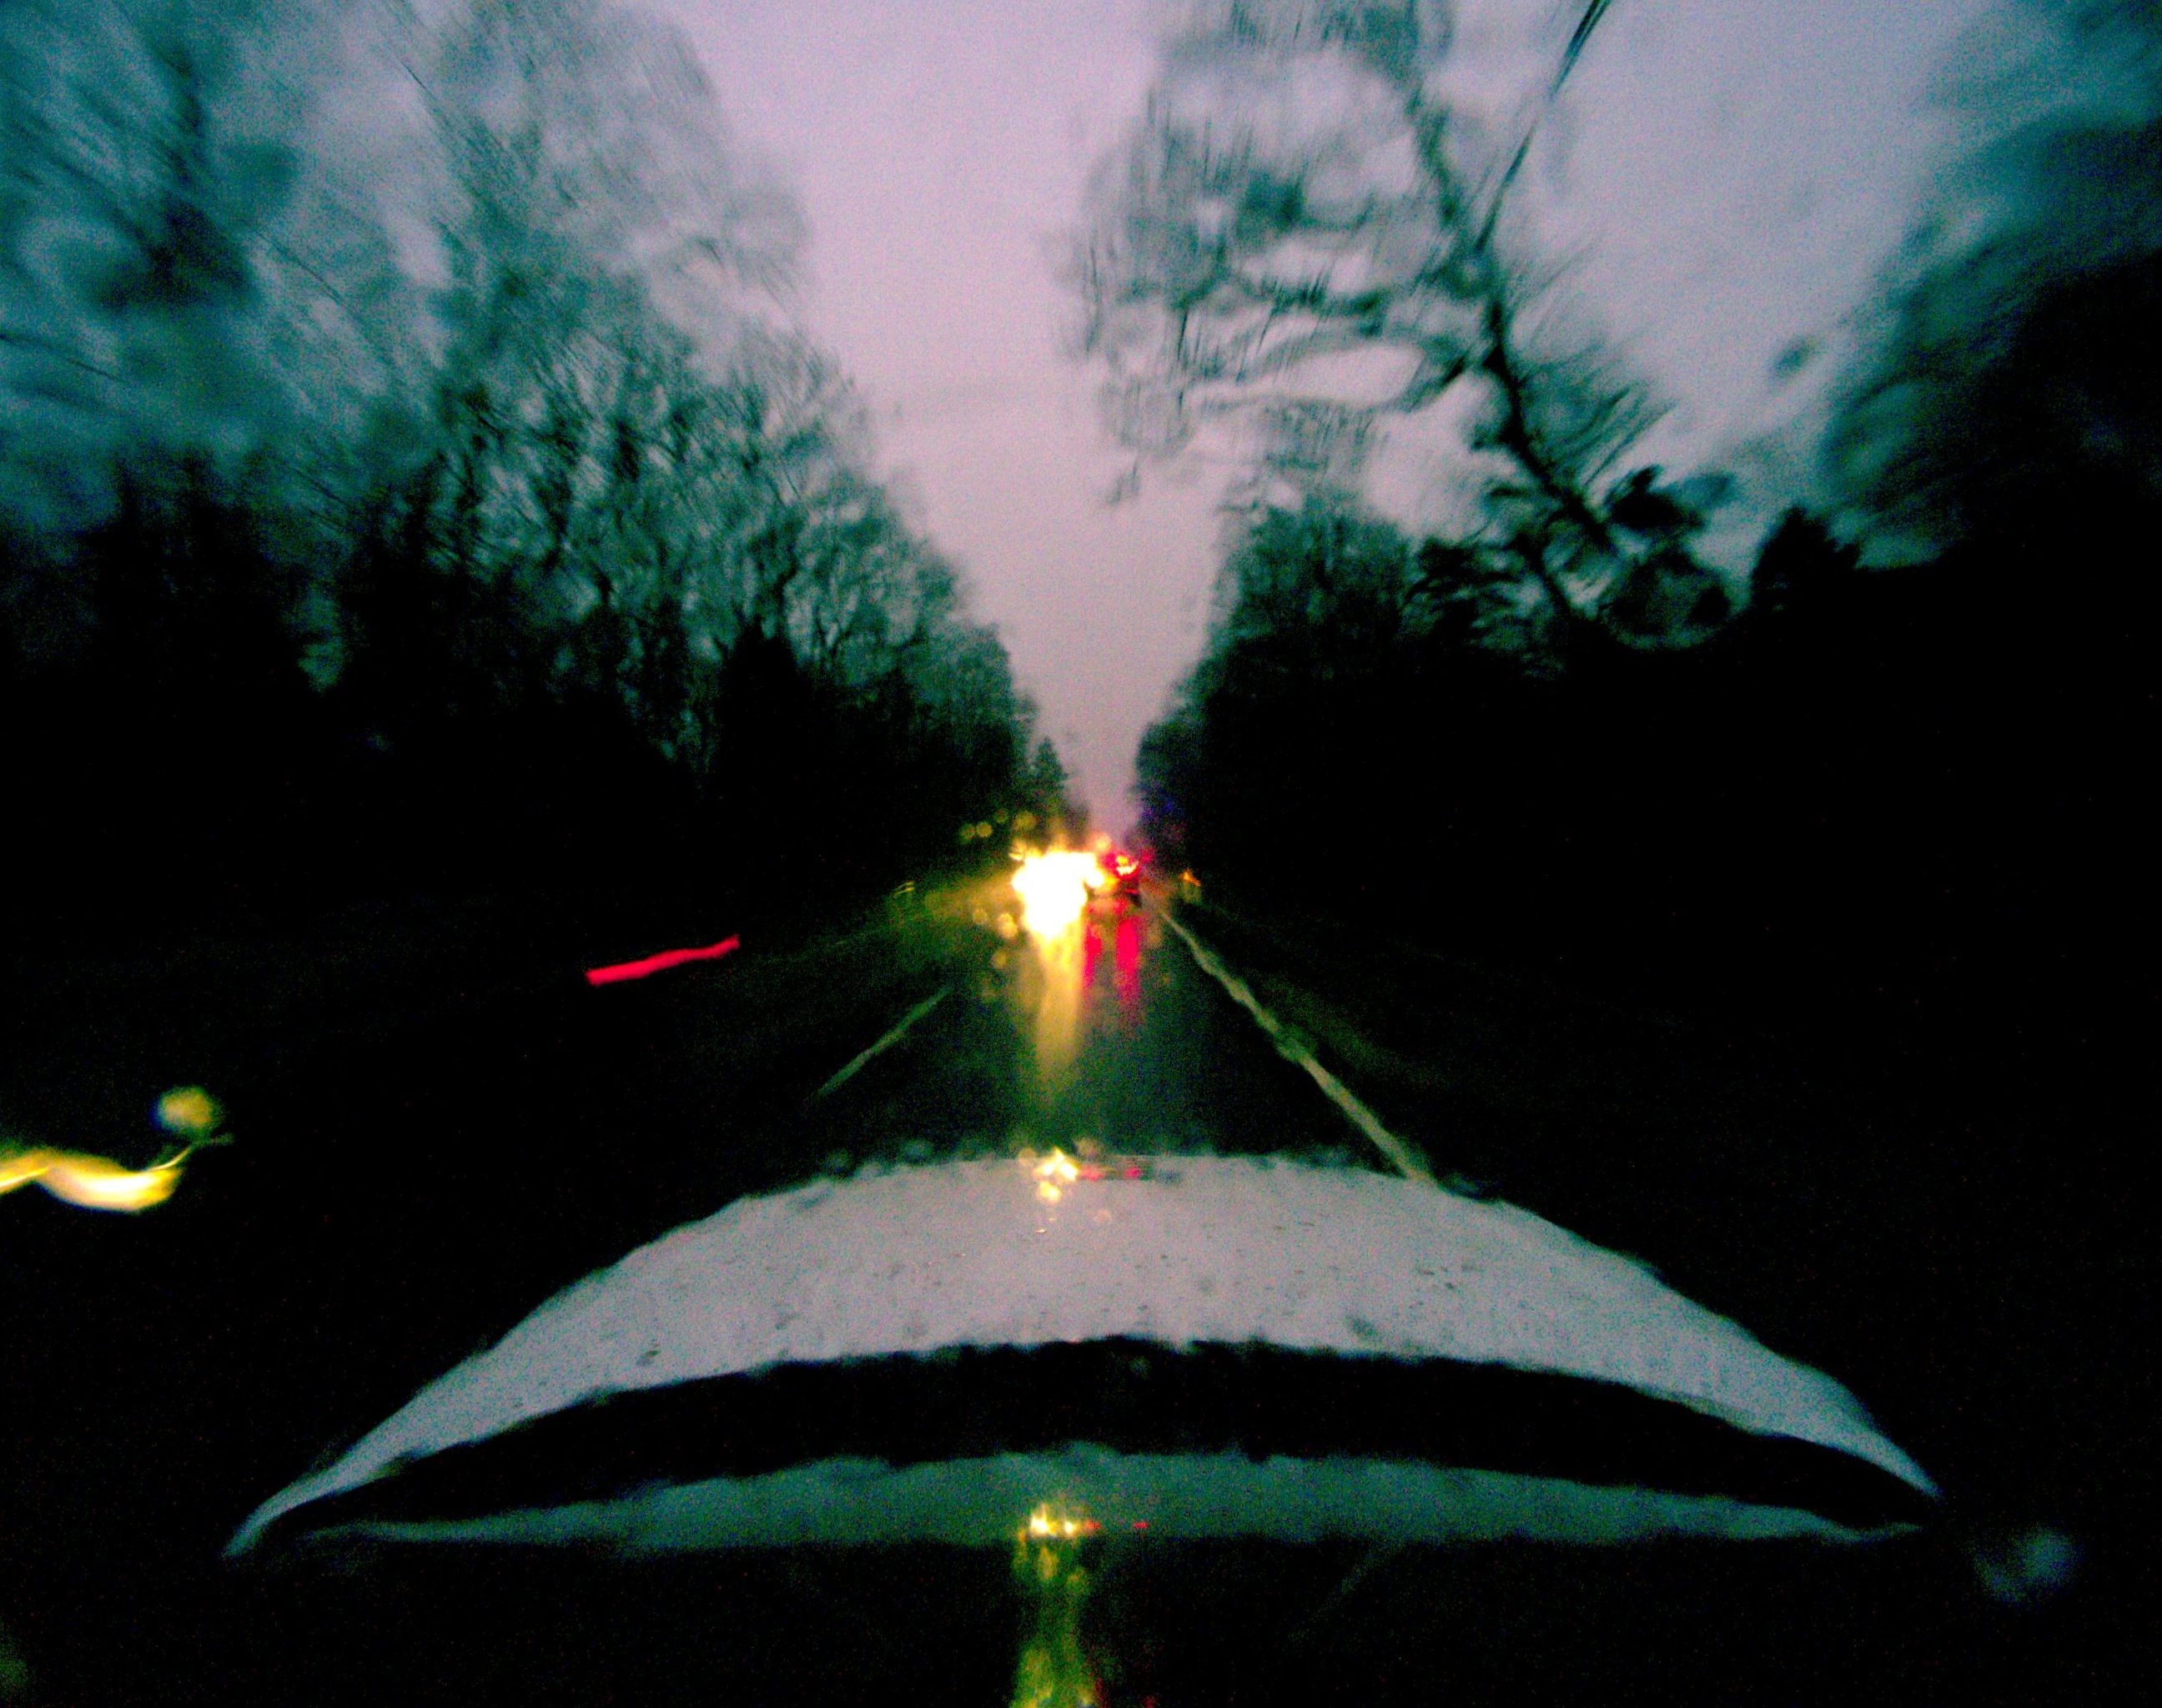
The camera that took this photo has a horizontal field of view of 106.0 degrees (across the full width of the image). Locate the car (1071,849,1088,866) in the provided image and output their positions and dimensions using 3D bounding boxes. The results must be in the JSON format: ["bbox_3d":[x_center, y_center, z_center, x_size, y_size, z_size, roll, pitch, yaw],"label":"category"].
[{"bbox_3d":[-0.173,0.451,105.510,2.000,1.989,5.032,-3,0,1],"label":"car"}]

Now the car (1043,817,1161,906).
[{"bbox_3d":[0.732,0.205,25.337,3.171,2.386,6.640,0,0,3],"label":"car"}]

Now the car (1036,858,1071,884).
[{"bbox_3d":[-1.773,1.119,54.573,2.068,1.616,4.152,-2,0,1],"label":"car"}]

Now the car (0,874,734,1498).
[{"bbox_3d":[-3.532,0.883,3.723,1.861,1.422,4.389,-1,0,2],"label":"car"}]
